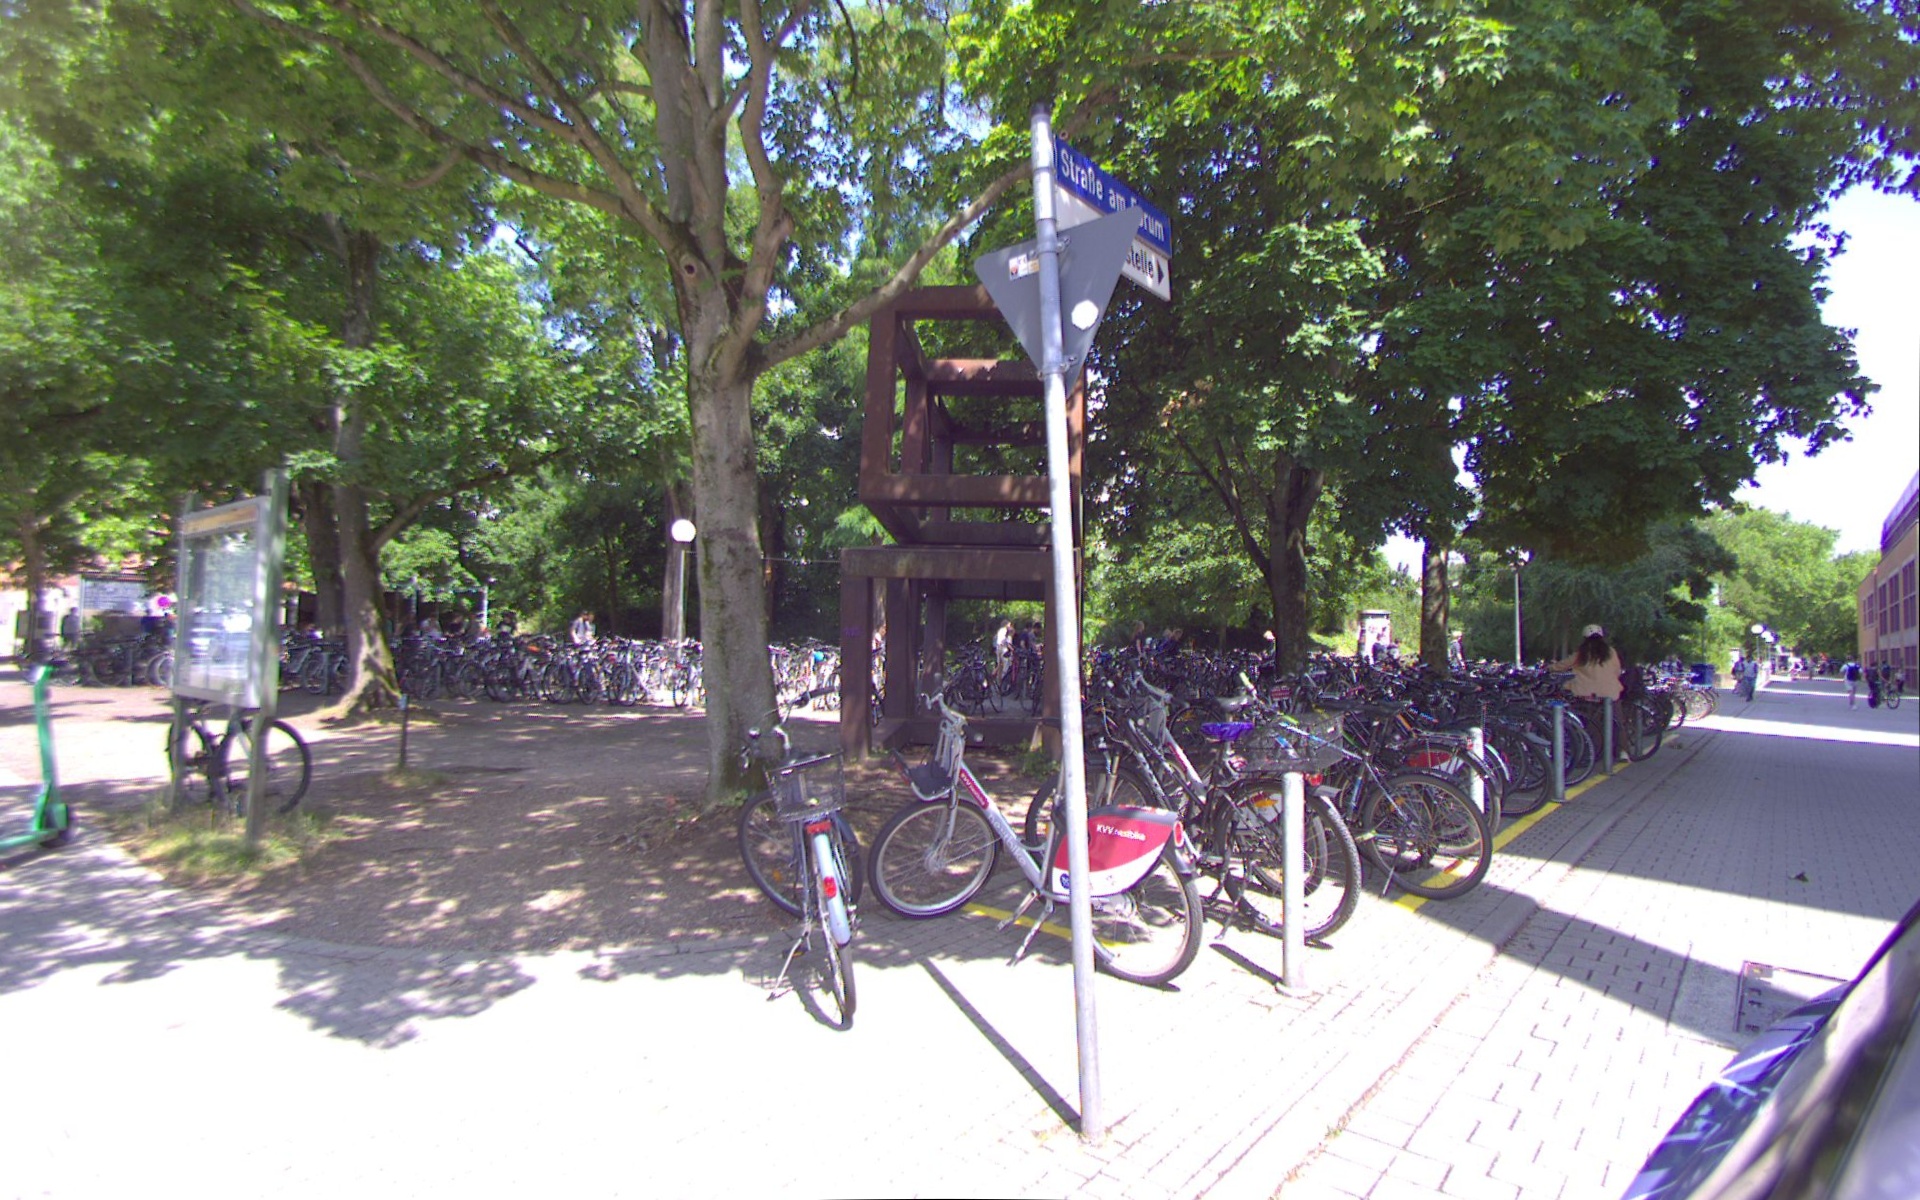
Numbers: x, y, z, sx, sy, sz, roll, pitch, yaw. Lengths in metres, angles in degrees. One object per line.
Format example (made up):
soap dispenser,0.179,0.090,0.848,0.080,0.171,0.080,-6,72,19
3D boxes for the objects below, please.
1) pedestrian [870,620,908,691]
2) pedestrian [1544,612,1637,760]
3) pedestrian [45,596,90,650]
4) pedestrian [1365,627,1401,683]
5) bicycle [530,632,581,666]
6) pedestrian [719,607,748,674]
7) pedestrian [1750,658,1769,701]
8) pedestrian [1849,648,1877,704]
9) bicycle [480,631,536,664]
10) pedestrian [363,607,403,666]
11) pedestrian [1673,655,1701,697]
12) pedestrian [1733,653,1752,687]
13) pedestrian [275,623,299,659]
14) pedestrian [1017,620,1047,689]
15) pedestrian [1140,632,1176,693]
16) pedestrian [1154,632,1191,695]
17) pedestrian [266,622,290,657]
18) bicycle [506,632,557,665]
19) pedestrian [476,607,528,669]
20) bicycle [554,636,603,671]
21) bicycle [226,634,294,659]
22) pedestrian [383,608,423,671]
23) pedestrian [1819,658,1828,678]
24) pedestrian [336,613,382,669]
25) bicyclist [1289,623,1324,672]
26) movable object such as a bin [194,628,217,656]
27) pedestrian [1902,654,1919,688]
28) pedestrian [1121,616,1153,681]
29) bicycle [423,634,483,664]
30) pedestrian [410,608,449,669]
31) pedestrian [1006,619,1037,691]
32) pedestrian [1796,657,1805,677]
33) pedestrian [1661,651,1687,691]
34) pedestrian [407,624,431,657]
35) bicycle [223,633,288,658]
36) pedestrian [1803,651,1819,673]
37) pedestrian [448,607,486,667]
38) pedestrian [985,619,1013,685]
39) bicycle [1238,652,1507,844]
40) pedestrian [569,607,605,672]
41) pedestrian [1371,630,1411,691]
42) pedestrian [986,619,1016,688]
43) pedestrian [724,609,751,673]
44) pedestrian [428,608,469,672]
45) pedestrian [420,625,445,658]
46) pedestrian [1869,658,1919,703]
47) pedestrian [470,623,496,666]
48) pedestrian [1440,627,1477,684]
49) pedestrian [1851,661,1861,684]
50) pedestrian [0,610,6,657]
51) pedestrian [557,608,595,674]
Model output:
pedestrian,-1.852,1.438,26.452,0.798,1.798,0.852,1,-2,8
pedestrian,7.699,1.030,12.362,0.939,1.725,0.422,0,-4,36
pedestrian,-33.140,0.845,37.574,1.065,1.974,0.829,0,-1,20
pedestrian,12.258,1.585,29.320,0.708,1.590,0.743,3,-3,-42
bicycle,-13.287,1.592,33.301,0.472,1.053,1.820,-1,-2,19
pedestrian,-6.265,1.115,27.996,0.706,1.798,0.746,2,-2,-12
pedestrian,29.535,2.931,37.384,0.513,1.531,0.681,0,0,42
pedestrian,30.396,2.548,34.086,0.561,1.786,0.795,0,0,33
bicycle,-15.174,1.588,33.996,0.473,1.053,1.946,-1,-2,21
pedestrian,-18.017,1.140,31.602,0.710,1.798,0.741,1,-2,15
pedestrian,27.075,2.821,37.694,0.505,1.531,0.692,0,0,-3
pedestrian,36.828,3.282,47.644,0.688,1.531,0.508,0,0,39
pedestrian,-26.331,1.607,39.577,0.725,1.364,0.564,0,0,36
pedestrian,1.911,1.431,26.944,0.709,1.798,0.742,1,-2,9
pedestrian,5.328,1.666,27.249,0.706,1.590,0.746,2,-2,-13
pedestrian,5.562,1.644,26.465,0.706,1.590,0.745,2,-2,-8
pedestrian,-26.983,1.561,40.028,0.725,1.364,0.564,0,0,36
bicycle,-14.144,1.597,33.444,0.472,1.053,1.773,-1,-2,19
pedestrian,-13.619,1.133,30.109,0.960,1.798,0.957,1,-2,19
bicycle,-12.260,1.707,32.603,0.472,1.053,1.742,-1,-2,19
bicycle,-31.150,2.077,45.037,2.363,1.086,0.781,3,-4,-43
pedestrian,-16.321,1.149,29.658,0.715,1.798,0.736,0,-2,32
pedestrian,77.933,6.143,91.365,0.791,1.786,0.563,0,0,-44
pedestrian,-19.805,1.335,33.352,0.912,1.798,0.950,0,-2,32
bicyclist,10.667,1.465,31.142,0.787,1.465,0.745,1,-2,-3
movable object such as a bin,-30.495,1.704,40.902,0.739,1.085,0.592,-4,-5,41
pedestrian,53.224,3.964,56.608,0.740,1.786,0.961,0,0,39
pedestrian,5.004,1.364,28.704,0.706,1.813,0.745,1,-2,-3
bicycle,-17.190,1.649,34.367,0.605,0.991,1.946,-1,-2,21
pedestrian,-15.894,1.140,30.338,0.715,1.798,0.736,0,-2,32
pedestrian,1.599,1.413,26.219,0.709,1.798,0.655,1,-2,9
pedestrian,76.965,6.136,92.652,0.791,1.786,0.563,0,0,-44
pedestrian,28.064,2.780,39.783,0.505,1.531,0.692,0,0,-3
pedestrian,-21.785,1.642,40.766,0.618,1.287,0.660,0,0,36
bicycle,-31.788,2.074,45.692,2.359,1.086,0.782,3,-4,-37
pedestrian,71.381,5.230,84.882,0.793,1.786,0.665,0,0,17
pedestrian,-15.116,1.129,31.056,0.715,1.798,0.736,0,-2,32
pedestrian,1.086,1.432,28.014,0.708,1.798,0.743,1,-2,4
bicycle,2.829,0.960,7.082,0.474,1.099,1.692,1,0,-44
pedestrian,-10.698,1.129,29.041,0.707,1.798,0.744,1,-2,0
pedestrian,11.569,1.605,27.160,0.708,1.590,0.743,3,-3,-42
pedestrian,1.100,1.433,27.145,0.708,1.798,0.743,1,-2,7
pedestrian,-6.335,1.159,28.810,0.706,1.798,0.746,2,-2,-12
pedestrian,-14.711,1.146,29.135,0.709,1.798,0.742,1,-2,9
pedestrian,-21.029,1.642,40.346,0.618,1.287,0.660,0,0,36
pedestrian,33.768,2.898,36.581,1.182,1.531,0.730,0,0,-5
pedestrian,-18.360,1.686,38.959,0.714,1.602,0.660,0,0,36
pedestrian,14.289,1.574,29.012,0.708,1.590,0.743,3,-3,-42
pedestrian,75.112,6.080,84.861,0.791,1.786,0.563,0,0,-44
pedestrian,-38.752,1.331,40.477,0.820,1.879,0.756,-2,-3,40
pedestrian,-10.702,1.137,28.231,0.707,1.798,0.744,1,-2,0
